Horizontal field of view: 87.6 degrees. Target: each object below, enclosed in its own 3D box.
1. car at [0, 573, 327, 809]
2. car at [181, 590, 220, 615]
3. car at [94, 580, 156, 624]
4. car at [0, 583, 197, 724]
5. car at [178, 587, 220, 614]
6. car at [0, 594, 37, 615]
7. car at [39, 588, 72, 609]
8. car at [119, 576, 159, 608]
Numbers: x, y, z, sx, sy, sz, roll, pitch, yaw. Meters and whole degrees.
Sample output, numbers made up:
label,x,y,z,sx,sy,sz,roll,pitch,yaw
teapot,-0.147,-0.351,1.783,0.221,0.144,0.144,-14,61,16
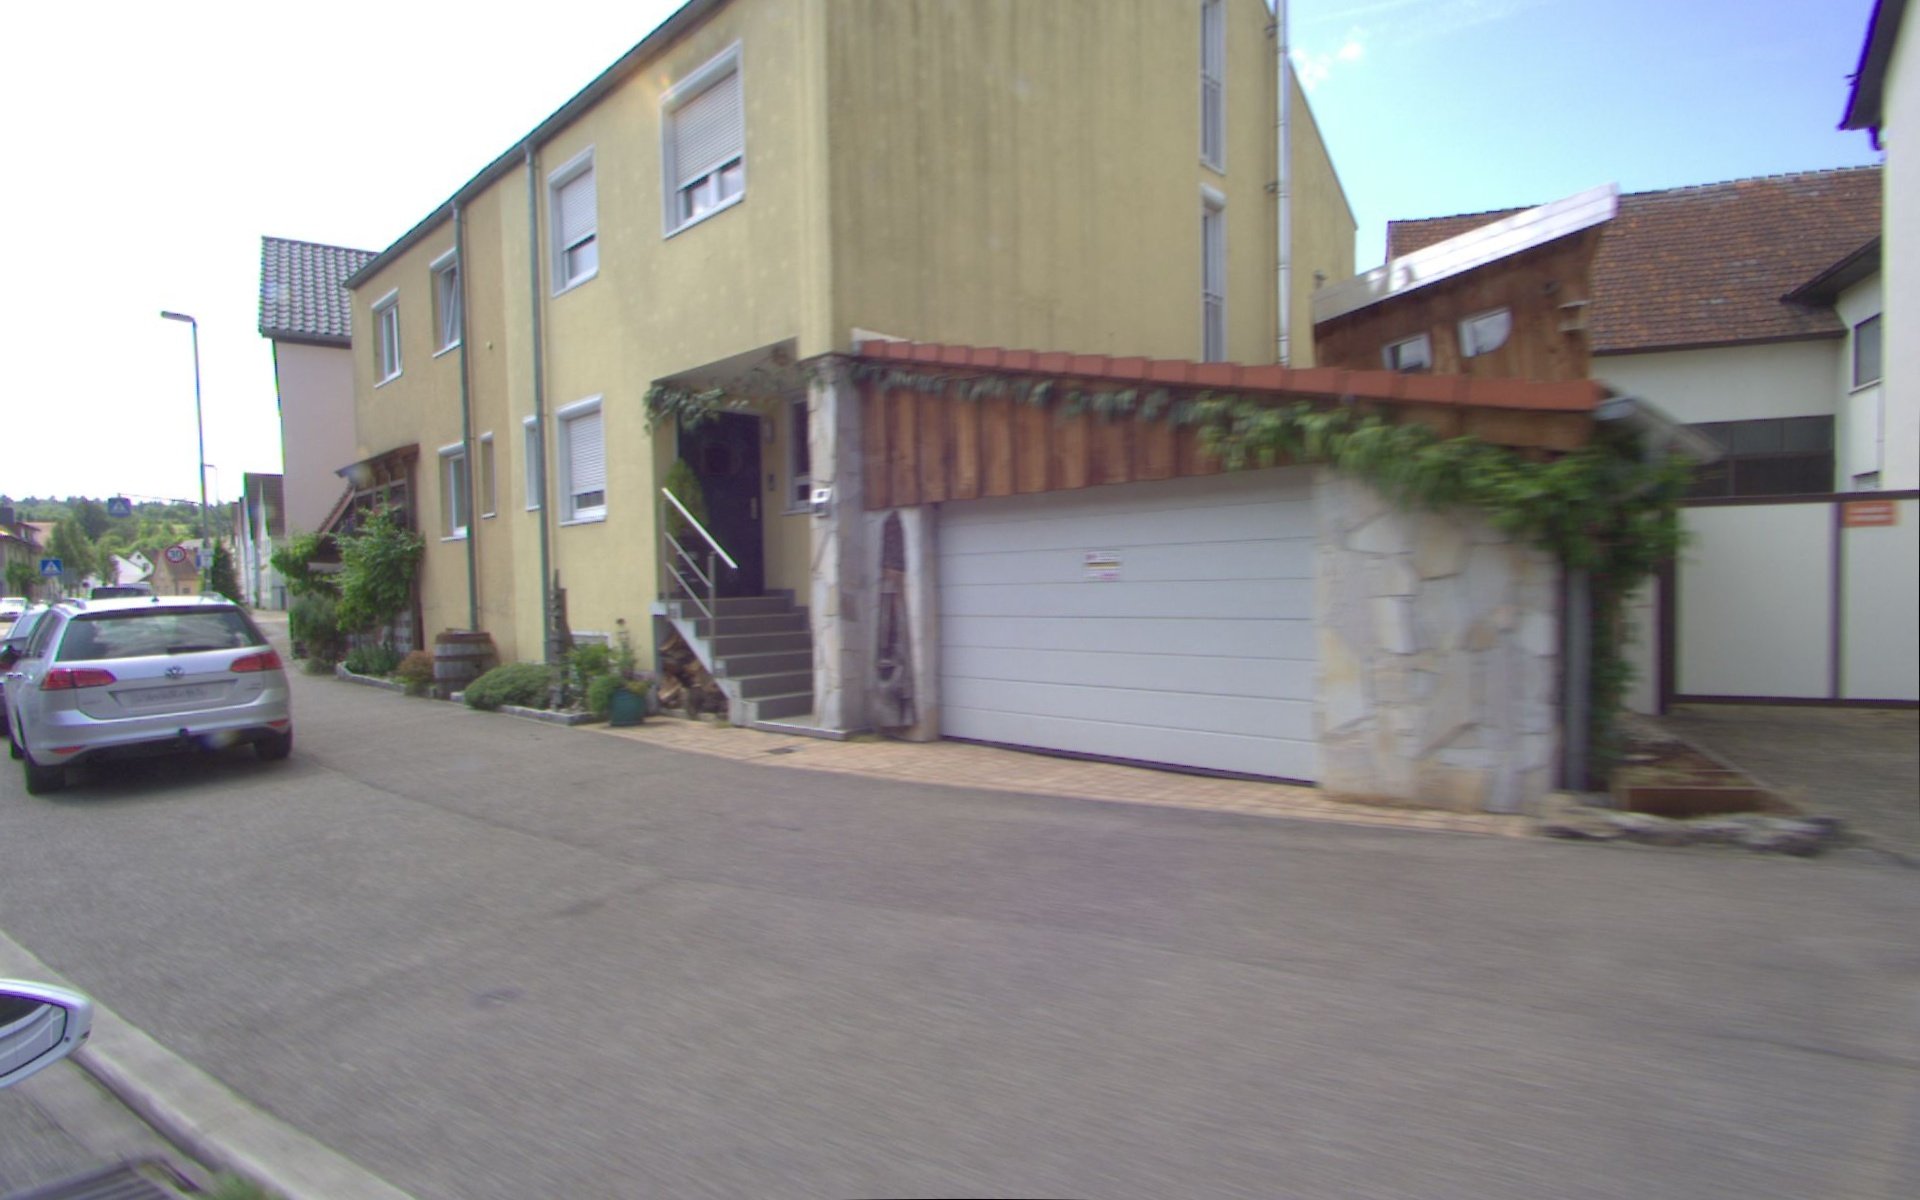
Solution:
label,x,y,z,sx,sy,sz,roll,pitch,yaw
car,-7.453,0.625,9.032,4.289,1.551,1.873,0,3,43
car,-50.281,0.174,66.342,1.976,1.527,3.971,-1,-1,-37
car,-37.092,0.123,44.548,1.977,1.839,3.969,-1,-1,-38
car,-11.220,0.619,12.742,4.380,1.419,1.758,-2,2,45
car,-46.487,0.062,61.204,1.976,1.527,3.971,-1,-1,-37
car,-64.596,0.308,68.605,1.979,1.338,3.675,0,-1,-42
car,-74.243,-0.123,82.246,1.652,1.616,3.971,-1,-1,-37
car,-56.885,-0.516,69.450,1.976,2.040,3.971,-1,-1,-37
